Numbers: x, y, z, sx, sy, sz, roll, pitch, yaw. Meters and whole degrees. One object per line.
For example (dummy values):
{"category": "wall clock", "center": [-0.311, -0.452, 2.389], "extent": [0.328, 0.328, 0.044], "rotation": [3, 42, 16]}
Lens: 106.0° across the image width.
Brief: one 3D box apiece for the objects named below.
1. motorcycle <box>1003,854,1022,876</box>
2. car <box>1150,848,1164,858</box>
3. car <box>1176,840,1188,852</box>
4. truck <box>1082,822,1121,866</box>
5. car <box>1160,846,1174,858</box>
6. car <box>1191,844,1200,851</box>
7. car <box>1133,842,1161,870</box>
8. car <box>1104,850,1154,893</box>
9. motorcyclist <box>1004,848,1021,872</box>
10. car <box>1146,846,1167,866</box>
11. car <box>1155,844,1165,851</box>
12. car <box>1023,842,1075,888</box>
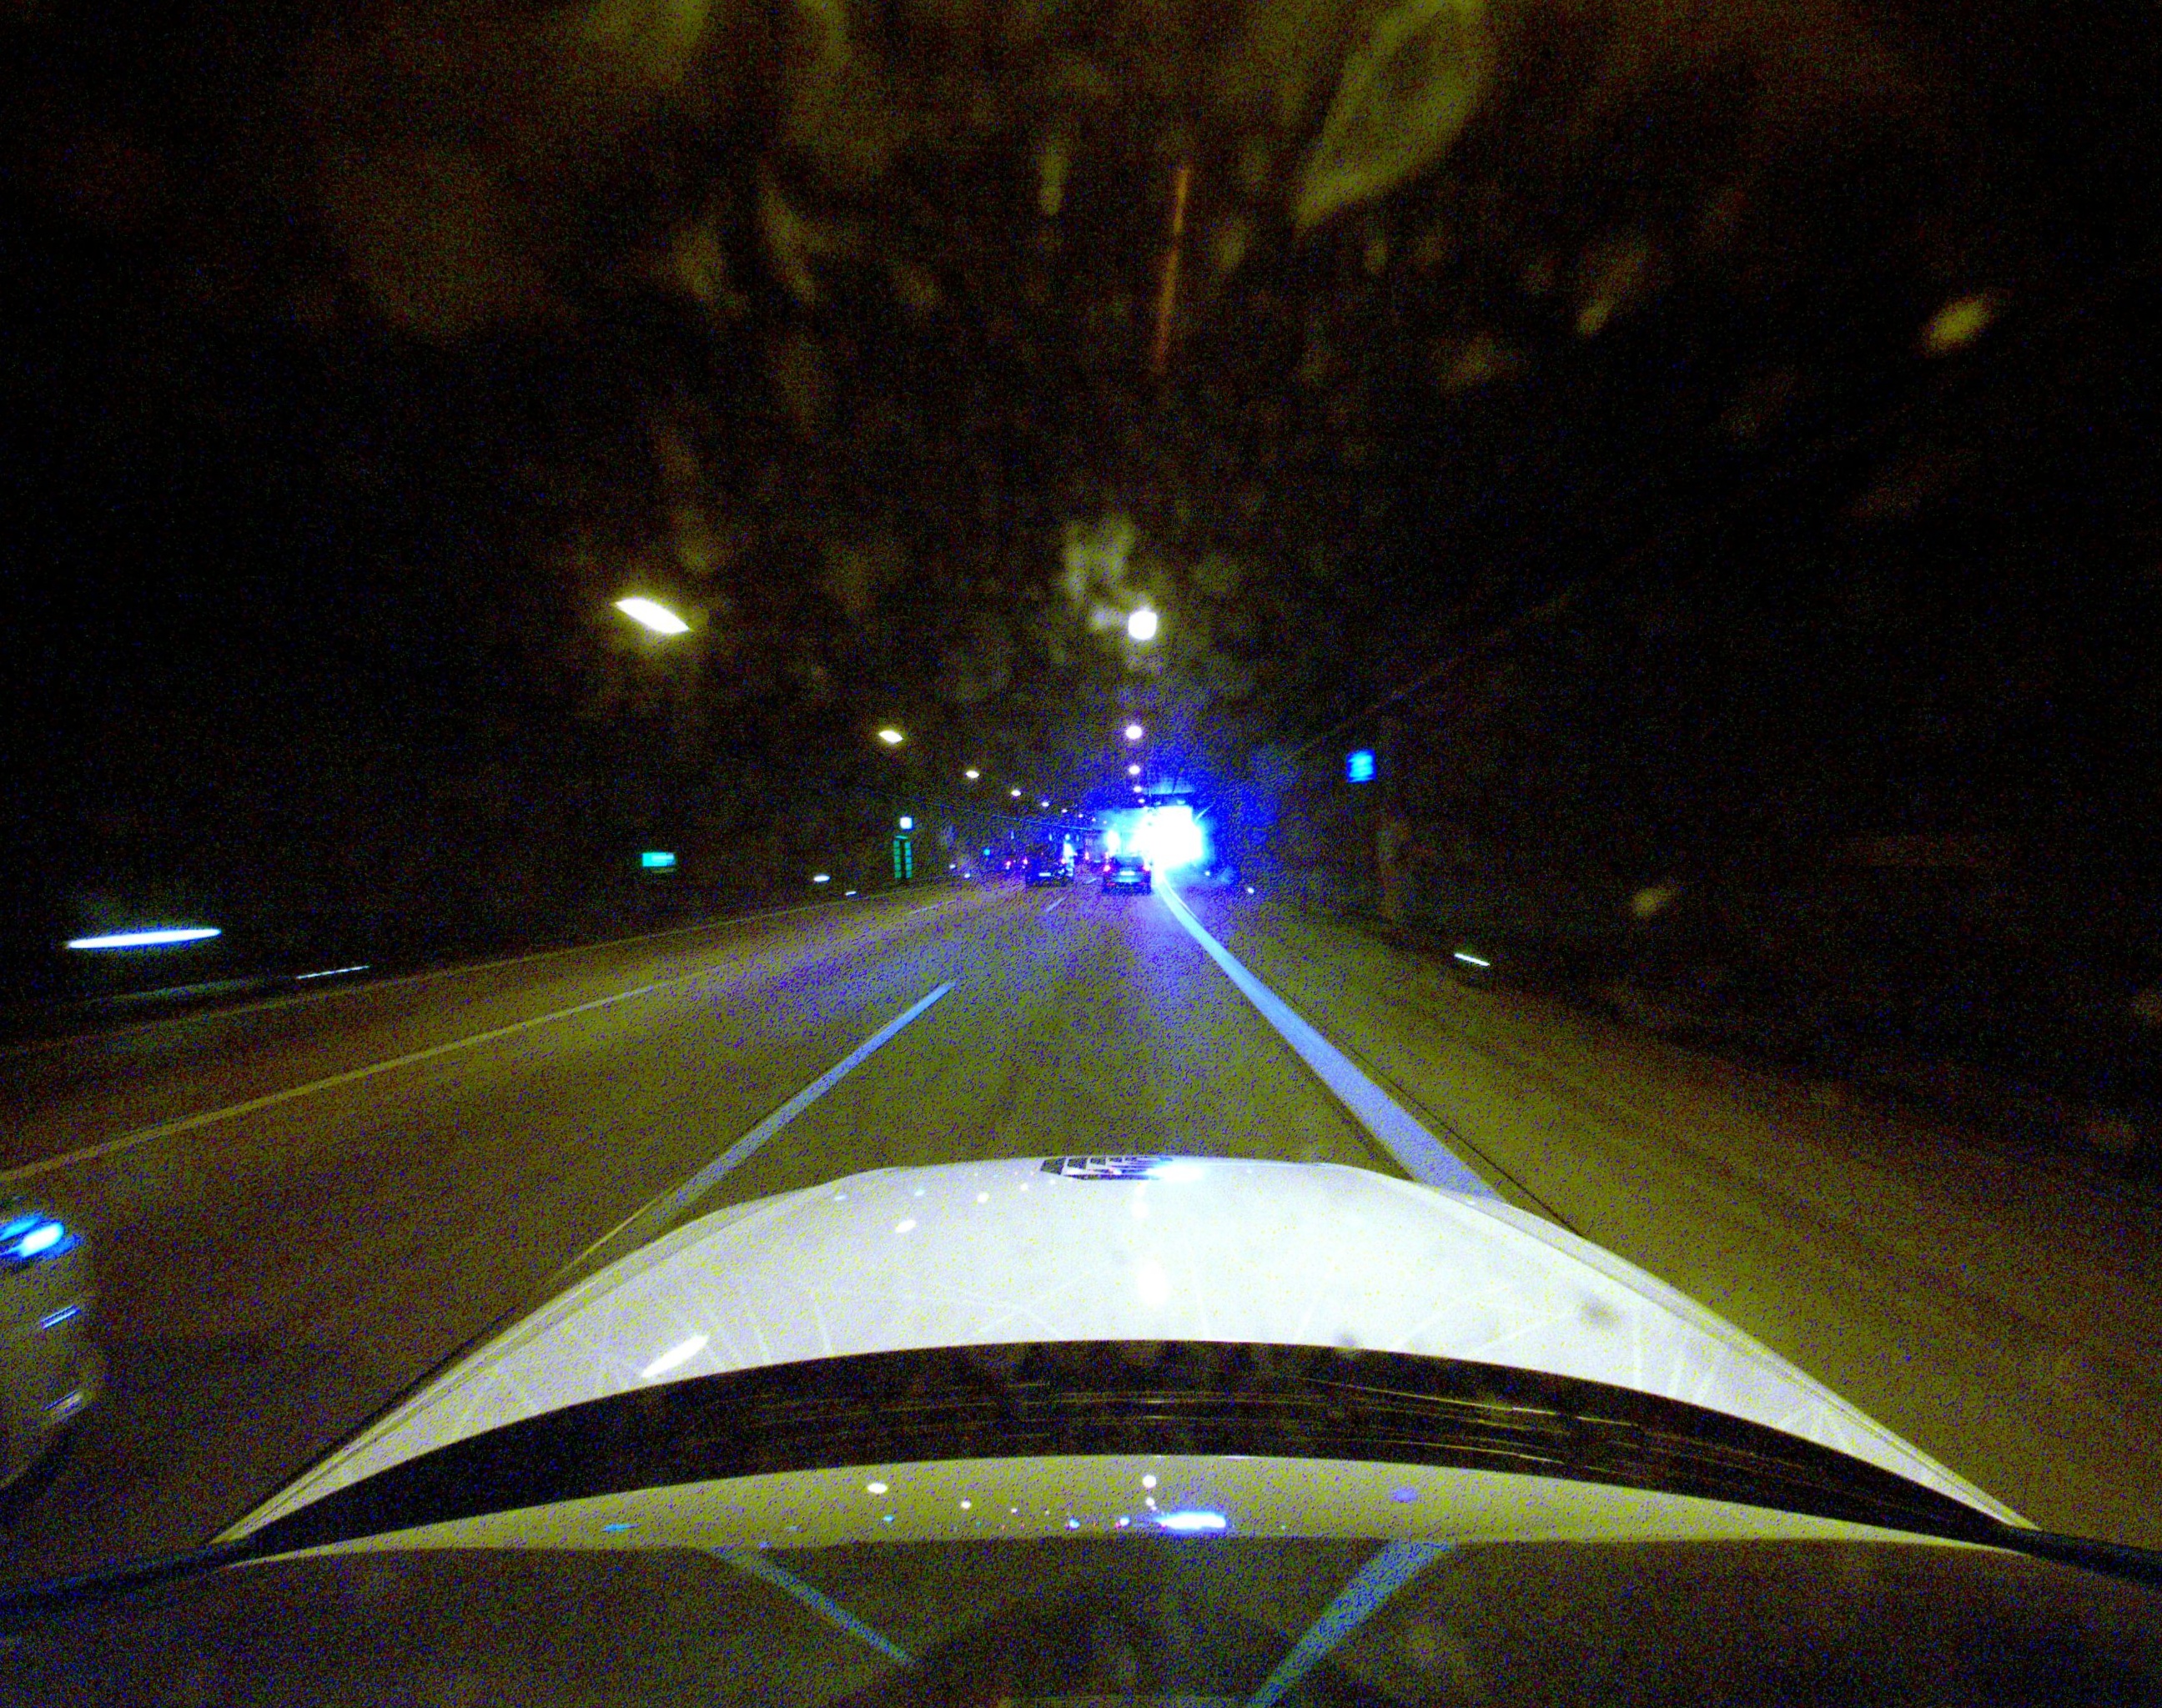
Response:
{"category": "motorcycle", "center": [-4.190, 0.683, 49.858], "extent": [0.679, 1.297, 2.402], "rotation": [-2, -2, 5]}
{"category": "car", "center": [12.529, -0.180, 134.195], "extent": [1.981, 1.632, 4.012], "rotation": [-1, -1, 11]}
{"category": "car", "center": [18.825, -1.445, 151.805], "extent": [1.983, 2.014, 4.007], "rotation": [-2, -2, 7]}
{"category": "truck", "center": [1.912, -0.850, 73.291], "extent": [3.025, 3.673, 7.402], "rotation": [-2, 0, 4]}
{"category": "car", "center": [12.992, -0.283, 123.057], "extent": [1.920, 1.643, 4.008], "rotation": [-2, -2, 7]}
{"category": "car", "center": [25.971, -1.435, 184.782], "extent": [1.919, 1.642, 4.011], "rotation": [0, 0, 10]}
{"category": "car", "center": [4.793, 0.129, 58.802], "extent": [1.848, 1.854, 4.007], "rotation": [-2, 0, 6]}
{"category": "car", "center": [1.903, 0.625, 31.172], "extent": [1.734, 1.464, 3.877], "rotation": [-1, 0, 6]}
{"category": "motorcyclist", "center": [-4.197, 0.380, 49.857], "extent": [0.773, 1.453, 1.070], "rotation": [-2, -2, 6]}
{"category": "car", "center": [7.524, 0.204, 80.870], "extent": [1.940, 1.772, 4.007], "rotation": [-2, -2, 7]}
{"category": "car", "center": [17.669, -1.419, 182.431], "extent": [1.919, 1.642, 4.011], "rotation": [-2, 0, 9]}
{"category": "car", "center": [-1.423, 0.460, 37.247], "extent": [1.901, 1.944, 3.876], "rotation": [-1, 0, 4]}
